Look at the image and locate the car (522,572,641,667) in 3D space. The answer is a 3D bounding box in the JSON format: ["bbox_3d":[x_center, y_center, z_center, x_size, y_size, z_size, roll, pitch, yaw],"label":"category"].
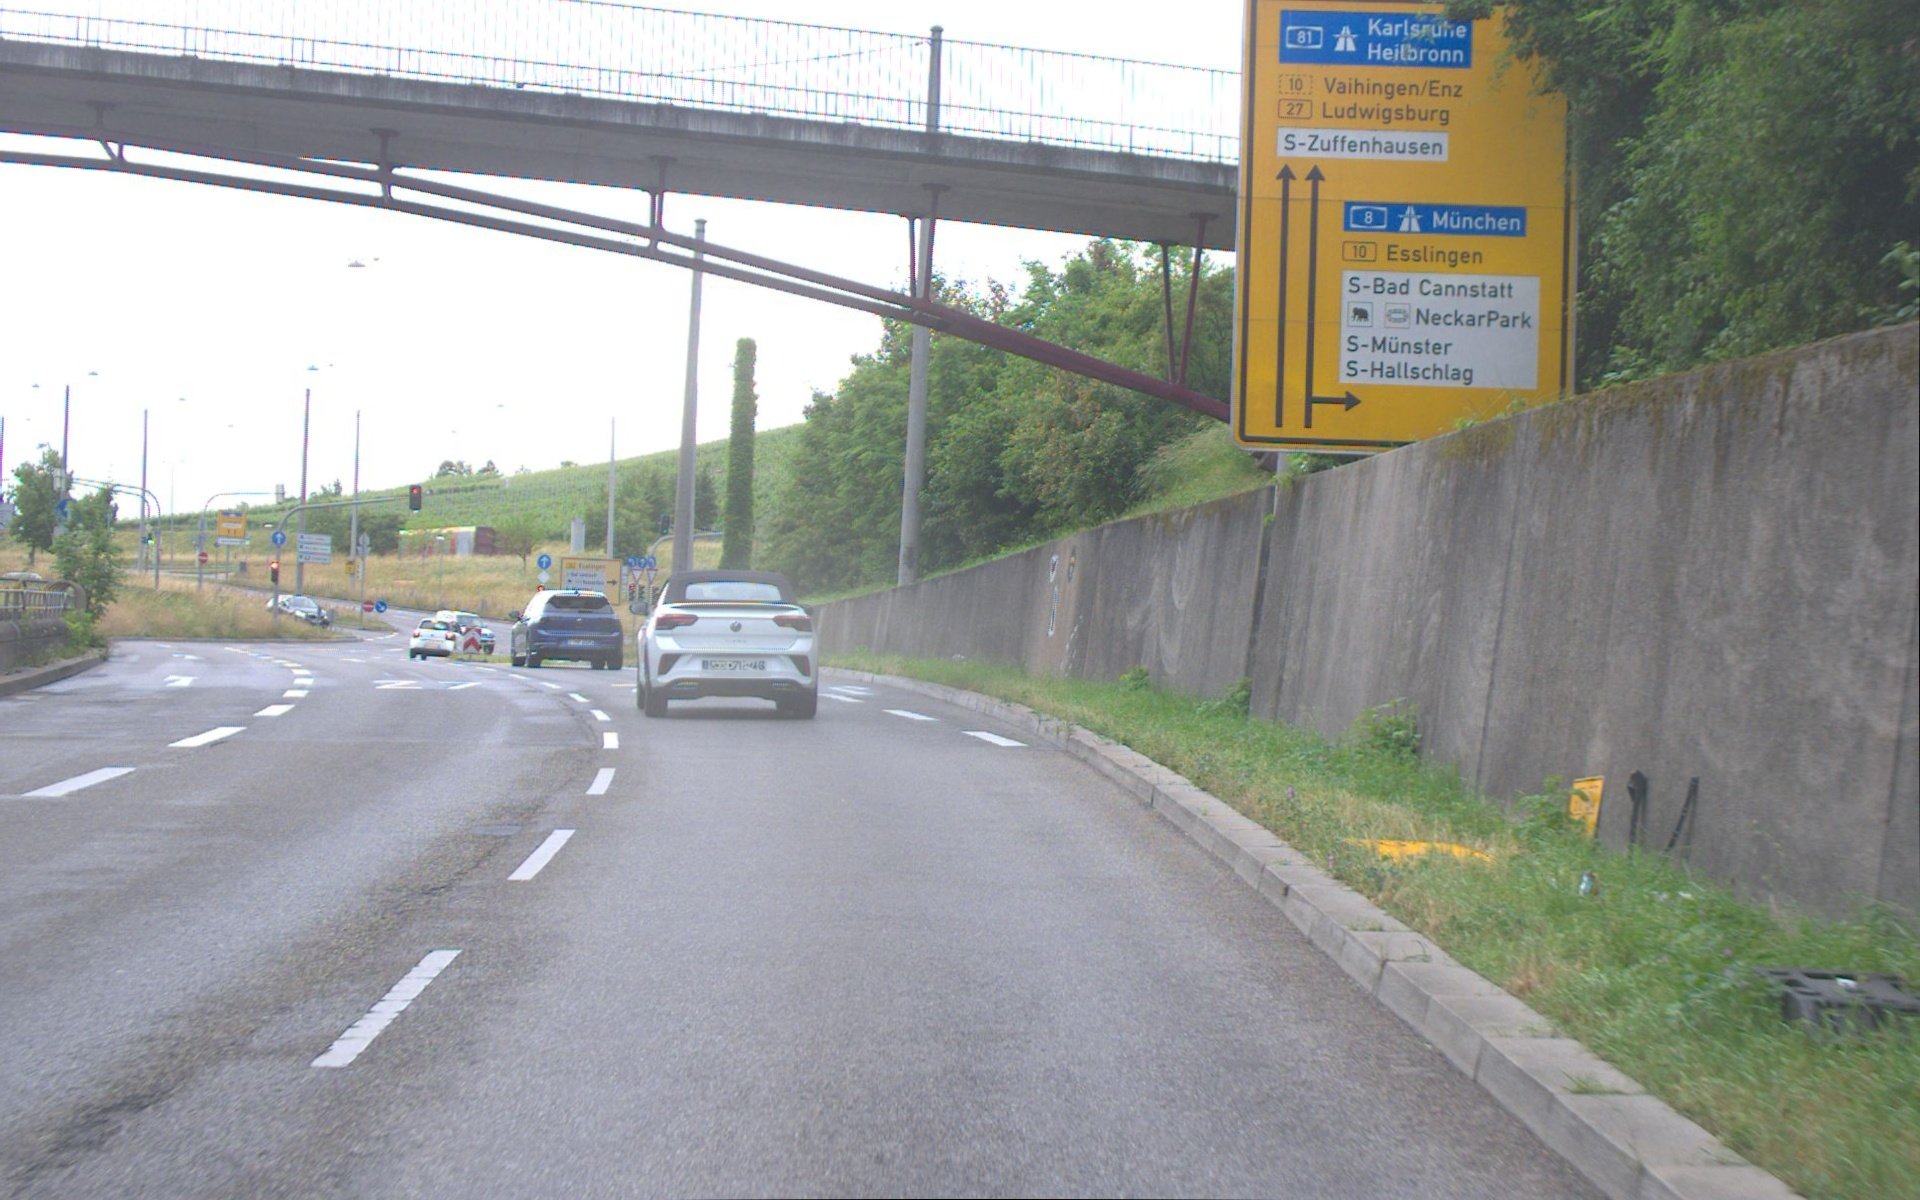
[{"bbox_3d":[-7.150,0.390,64.641,1.926,1.594,4.062,3,-2,-9],"label":"car"}]

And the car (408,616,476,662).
[{"bbox_3d":[-19.296,1.456,128.161,1.774,1.514,3.724,5,-1,2],"label":"car"}]

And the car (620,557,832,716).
[{"bbox_3d":[-2.559,0.343,36.716,1.995,1.573,4.126,0,1,-7],"label":"car"}]
